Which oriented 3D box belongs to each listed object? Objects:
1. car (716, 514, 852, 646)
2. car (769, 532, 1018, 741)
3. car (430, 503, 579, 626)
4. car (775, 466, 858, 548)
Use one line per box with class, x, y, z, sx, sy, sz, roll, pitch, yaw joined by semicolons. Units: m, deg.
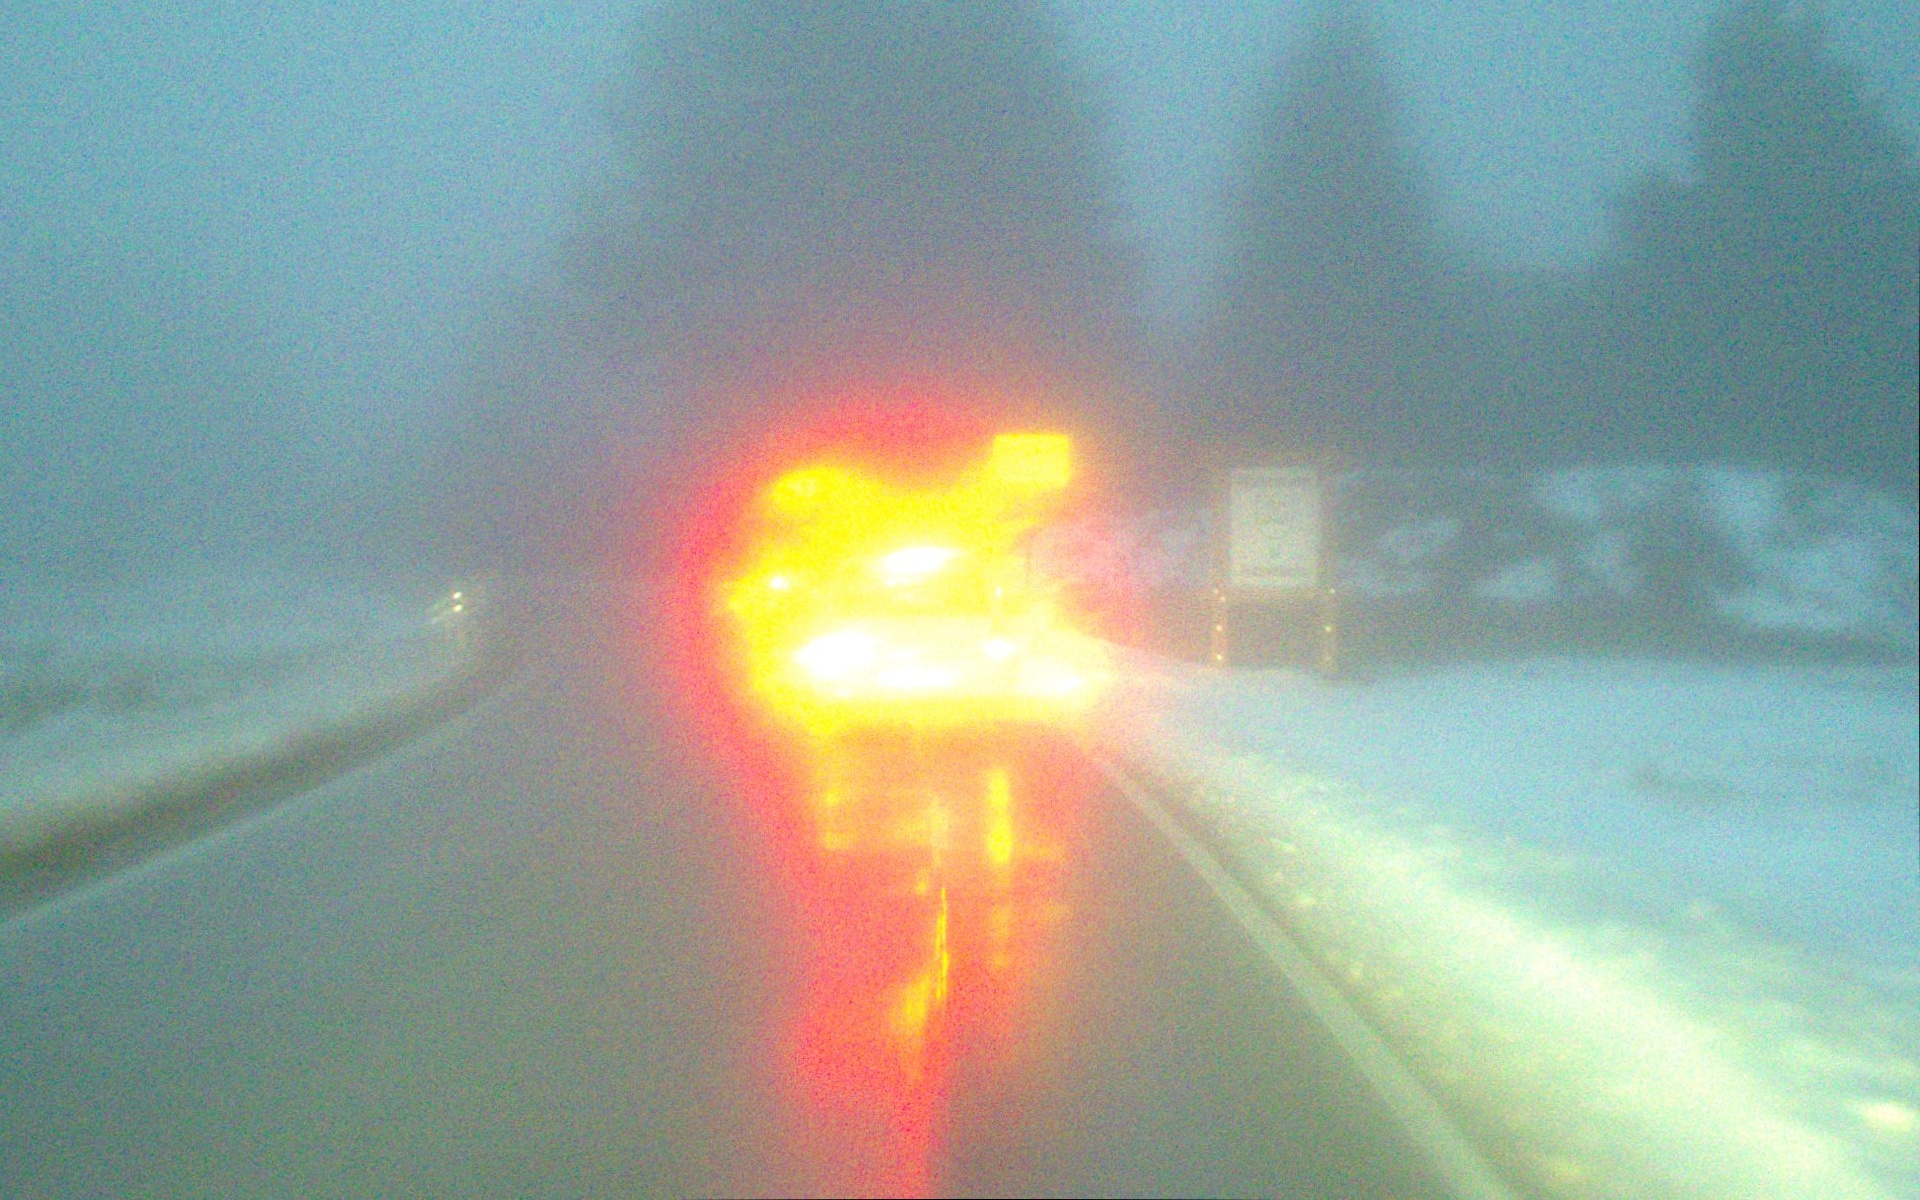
car;-2.070;-0.257;41.075;1.478;1.503;3.053;-1;1;-1
car;-0.599;0.293;27.479;1.706;1.458;4.000;3;-1;-4
car;-5.825;-0.447;44.201;1.522;1.503;3.053;-1;0;-1
car;-2.767;-1.779;66.716;1.478;1.503;3.053;-1;0;-1
